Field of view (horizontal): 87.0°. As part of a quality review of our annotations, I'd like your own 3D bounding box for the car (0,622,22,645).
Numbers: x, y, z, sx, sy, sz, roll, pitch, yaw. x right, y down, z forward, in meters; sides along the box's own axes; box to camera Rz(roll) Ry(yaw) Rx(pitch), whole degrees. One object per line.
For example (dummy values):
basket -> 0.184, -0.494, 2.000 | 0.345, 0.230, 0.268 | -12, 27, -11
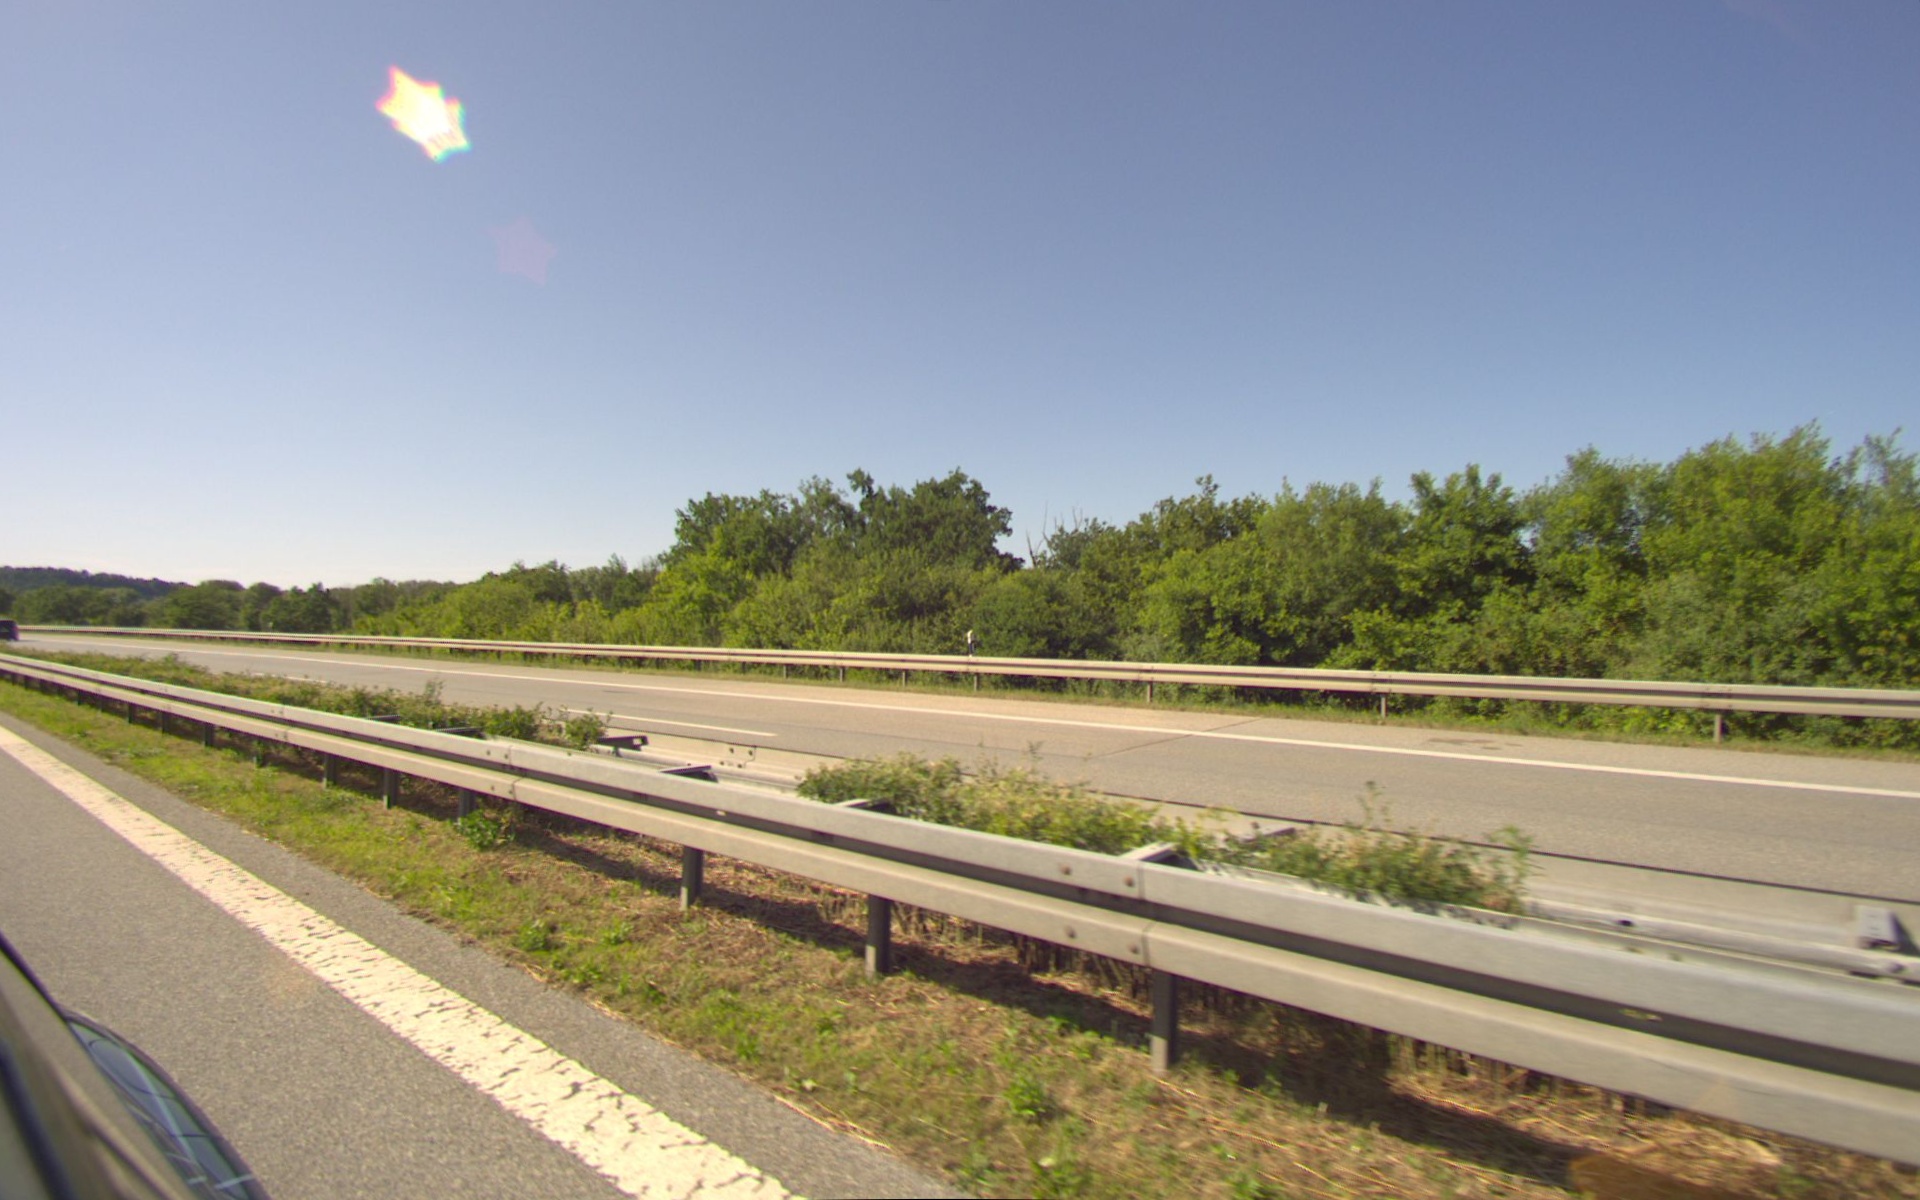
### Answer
car -> -68.339, 2.379, 71.749 | 4.862, 1.612, 1.940 | -1, -2, 39
